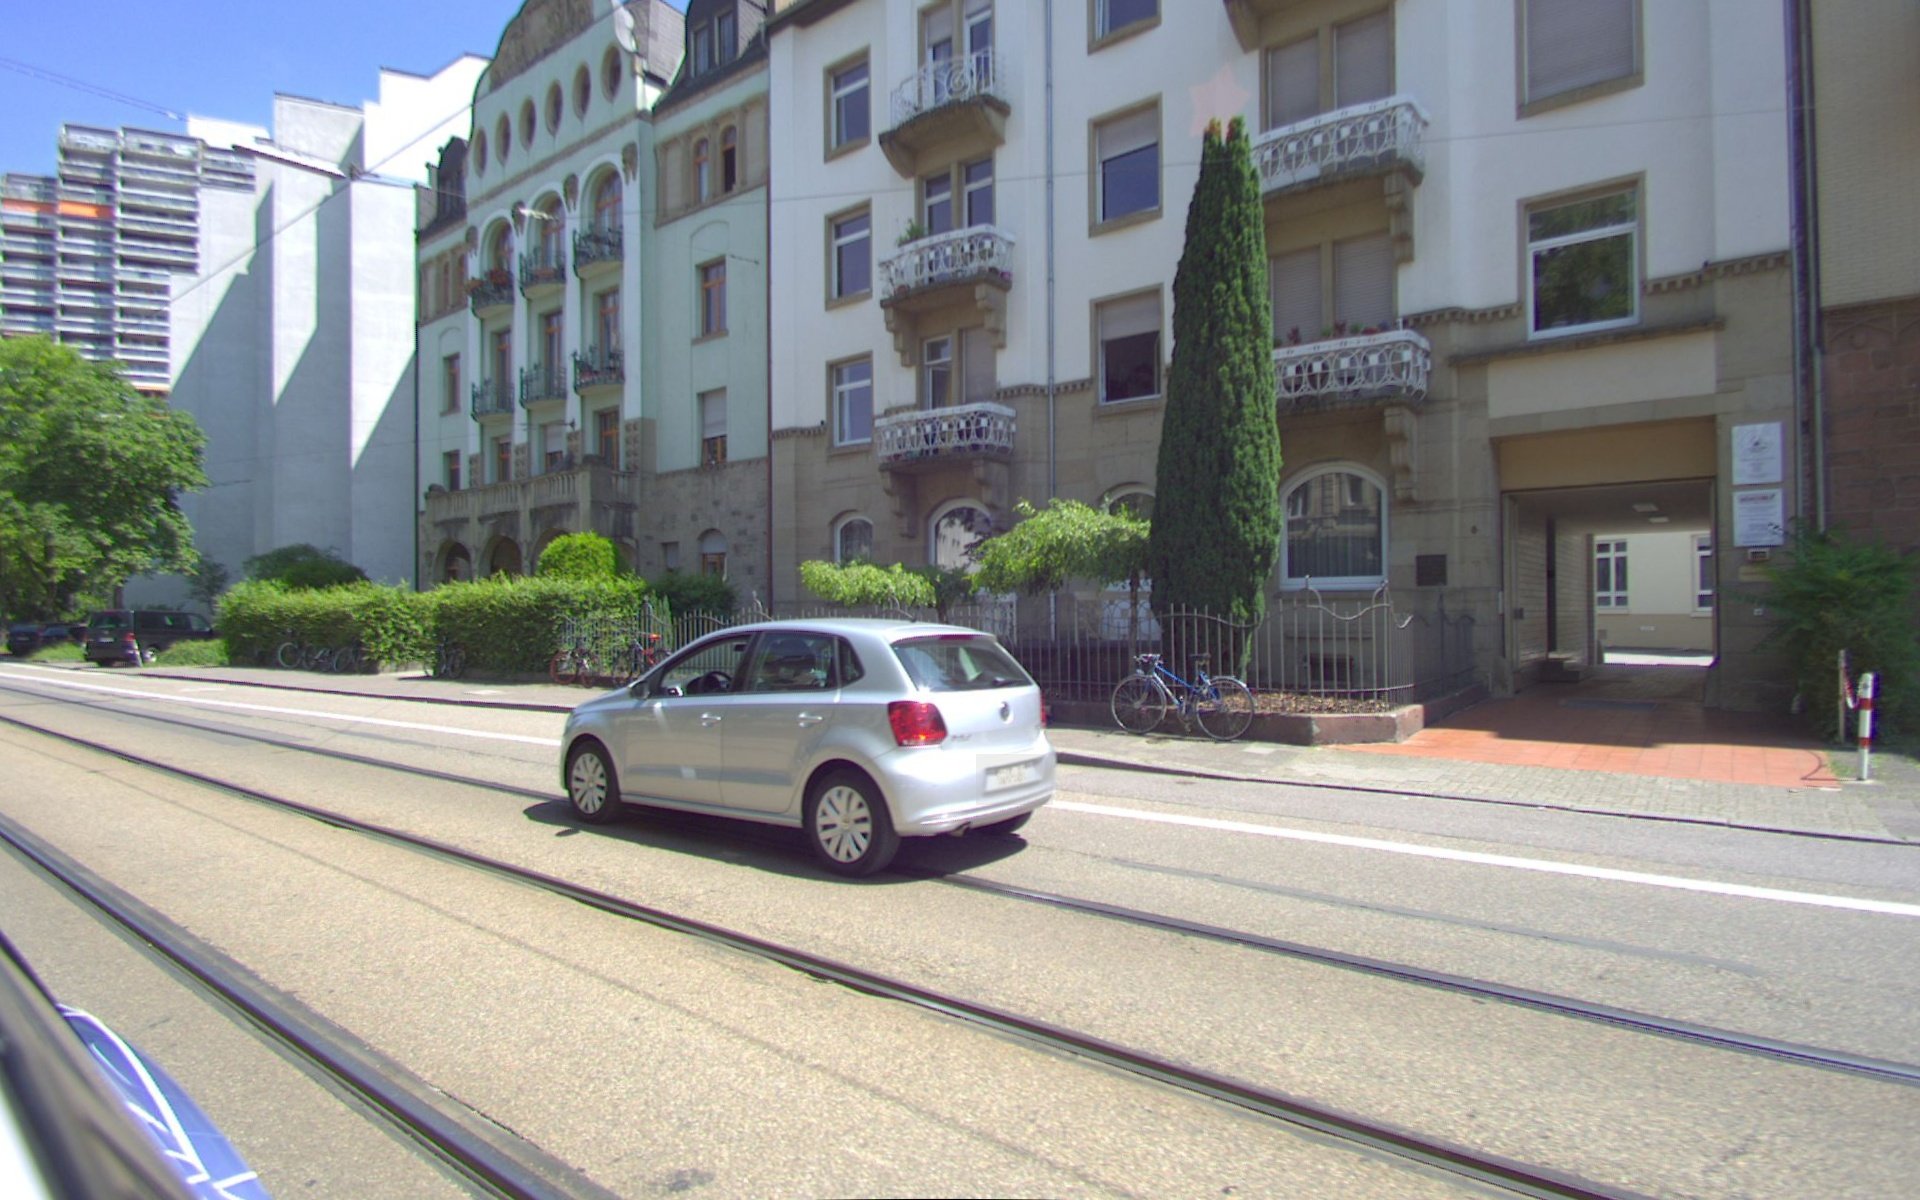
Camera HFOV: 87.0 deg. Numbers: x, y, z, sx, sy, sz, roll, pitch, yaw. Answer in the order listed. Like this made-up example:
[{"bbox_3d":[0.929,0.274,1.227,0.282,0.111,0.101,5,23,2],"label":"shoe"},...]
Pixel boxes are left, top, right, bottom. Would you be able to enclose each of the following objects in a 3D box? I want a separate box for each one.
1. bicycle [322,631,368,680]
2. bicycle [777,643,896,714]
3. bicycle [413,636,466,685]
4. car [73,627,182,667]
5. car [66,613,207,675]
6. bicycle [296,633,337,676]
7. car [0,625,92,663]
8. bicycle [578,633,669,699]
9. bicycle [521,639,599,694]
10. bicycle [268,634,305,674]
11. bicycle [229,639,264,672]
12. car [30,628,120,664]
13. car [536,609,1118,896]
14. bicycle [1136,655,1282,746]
[{"bbox_3d":[-15.772,1.402,25.939,1.930,1.173,0.336,0,0,38],"label":"bicycle"},{"bbox_3d":[-1.830,1.122,14.803,1.951,0.955,0.457,-1,0,38],"label":"bicycle"},{"bbox_3d":[-11.840,1.357,22.980,1.897,1.054,0.286,0,0,38],"label":"bicycle"},{"bbox_3d":[-33.634,1.875,41.032,1.712,1.437,3.898,-1,0,-10],"label":"car"},{"bbox_3d":[-28.980,1.499,35.779,1.885,1.984,3.910,-1,0,-2],"label":"car"},{"bbox_3d":[-17.250,1.447,27.110,1.725,1.076,0.336,0,0,38],"label":"bicycle"},{"bbox_3d":[-41.872,1.987,46.356,1.614,1.561,3.818,-1,0,-13],"label":"car"},{"bbox_3d":[-6.075,1.167,18.225,2.043,1.104,0.487,-1,0,38],"label":"bicycle"},{"bbox_3d":[-7.735,1.259,19.519,2.043,0.978,0.395,-1,0,38],"label":"bicycle"},{"bbox_3d":[-18.898,1.504,28.391,1.725,1.076,0.336,0,0,38],"label":"bicycle"},{"bbox_3d":[-21.495,1.670,30.489,1.725,0.948,0.336,-1,1,38],"label":"bicycle"},{"bbox_3d":[-39.311,2.034,45.042,1.468,1.410,3.287,-1,0,-9],"label":"car"},{"bbox_3d":[-1.028,0.793,6.881,3.818,1.423,1.693,0,-2,36],"label":"car"},{"bbox_3d":[2.759,1.103,11.338,1.612,0.924,0.250,-1,0,38],"label":"bicycle"}]
